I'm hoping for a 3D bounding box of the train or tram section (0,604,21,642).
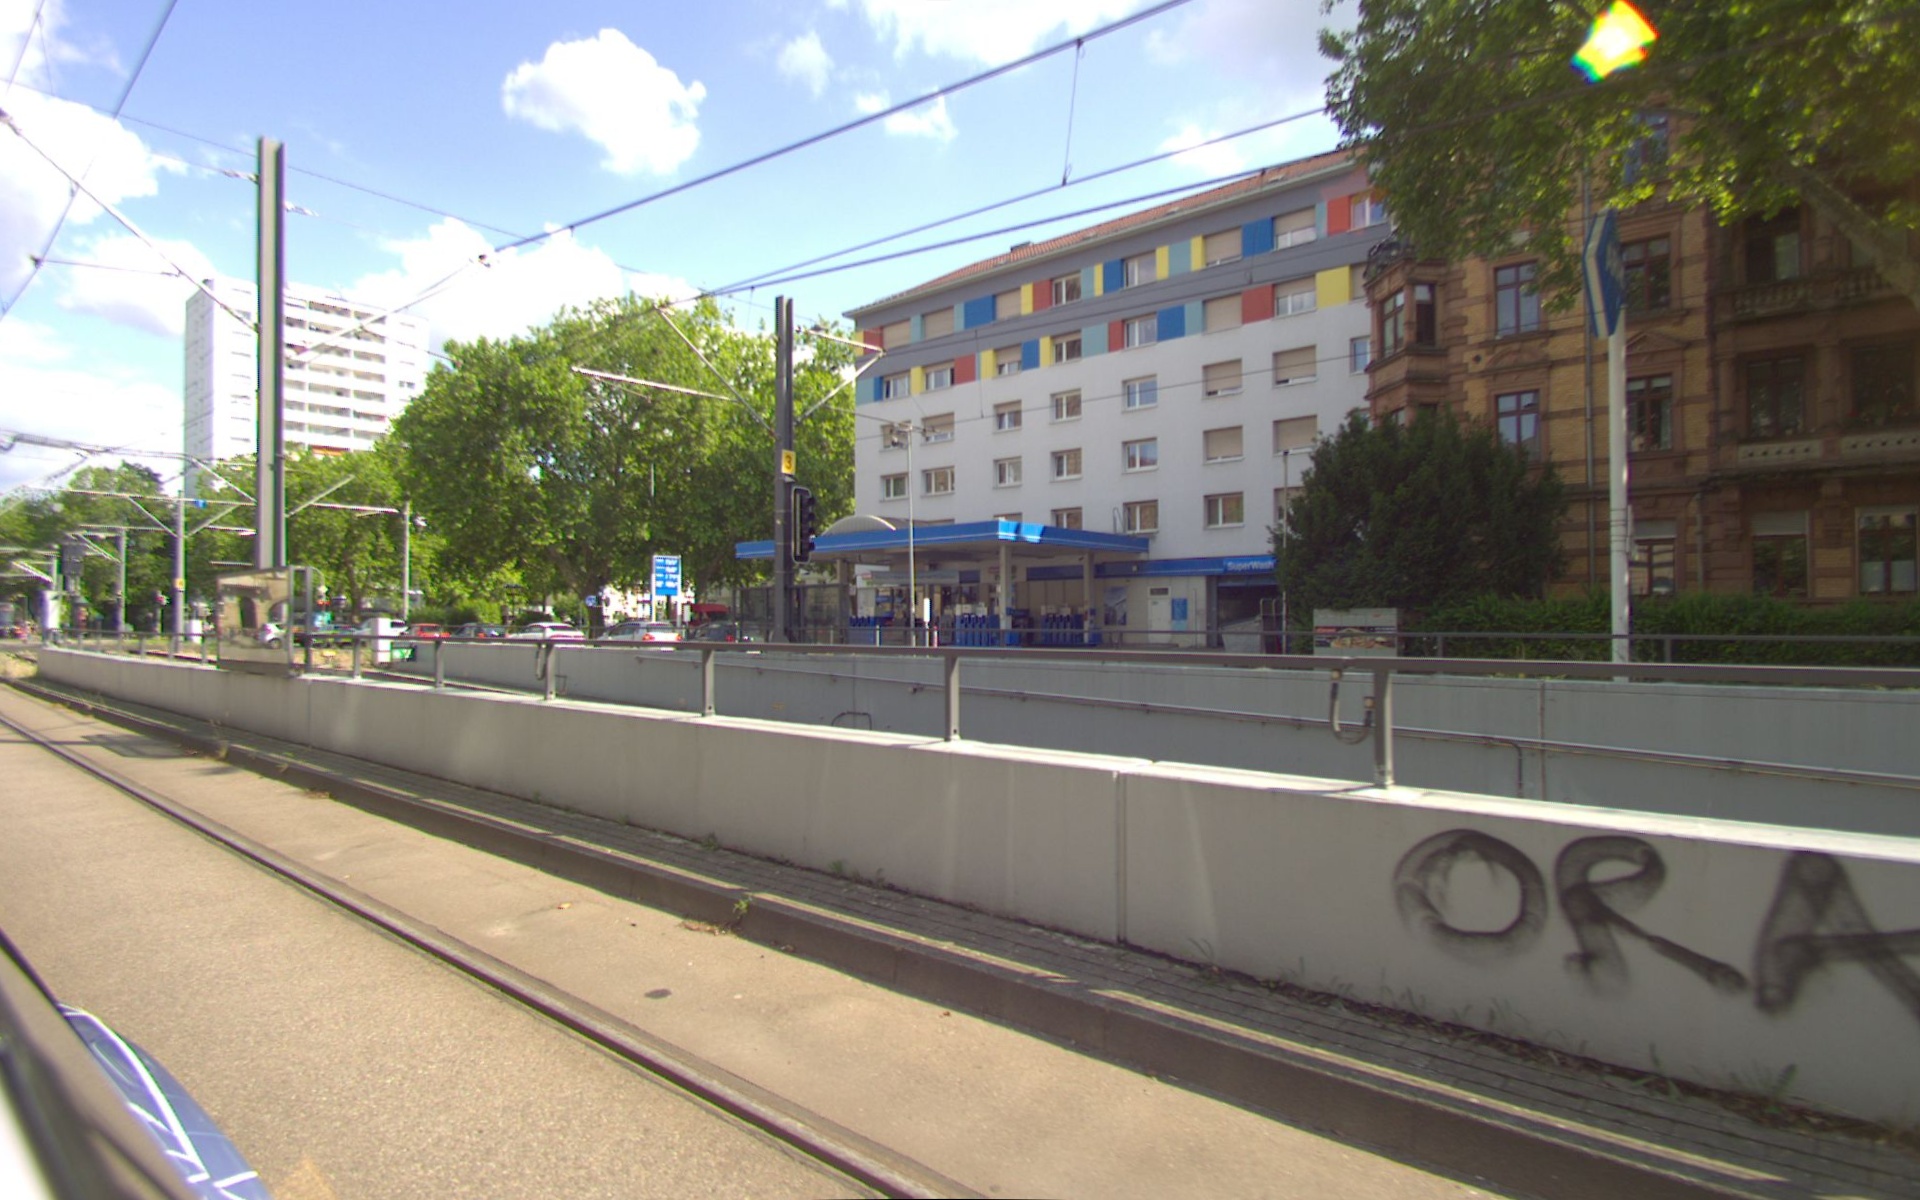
[{"bbox_3d":[-95.447,2.348,100.274,11.378,3.588,2.765,-2,-2,44],"label":"train or tram section"}]

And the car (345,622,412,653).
[{"bbox_3d":[-32.018,2.045,55.673,4.676,1.619,1.741,-1,-2,41],"label":"car"}]

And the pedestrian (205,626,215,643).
[{"bbox_3d":[-75.739,3.480,102.174,0.648,1.716,0.662,-2,-2,44],"label":"pedestrian"}]

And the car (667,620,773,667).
[{"bbox_3d":[-7.784,1.382,32.667,1.649,1.427,3.785,1,-2,-43],"label":"car"}]

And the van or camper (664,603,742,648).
[{"bbox_3d":[-16.118,1.627,63.371,5.349,2.662,2.079,-2,-5,43],"label":"van or camper"}]

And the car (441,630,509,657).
[{"bbox_3d":[-22.342,1.978,46.552,3.633,1.198,1.599,-2,-2,43],"label":"car"}]

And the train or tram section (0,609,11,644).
[{"bbox_3d":[-103.610,2.888,108.000,11.182,3.588,2.775,-2,-2,43],"label":"train or tram section"}]

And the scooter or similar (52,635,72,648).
[{"bbox_3d":[-57.263,2.635,64.546,0.553,0.810,0.830,-2,-2,36],"label":"scooter or similar"}]

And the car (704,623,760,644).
[{"bbox_3d":[-14.872,2.189,65.991,3.997,1.304,1.458,-2,-5,40],"label":"car"}]

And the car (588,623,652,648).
[{"bbox_3d":[-19.971,2.084,59.410,3.997,1.421,1.734,-2,-3,40],"label":"car"}]

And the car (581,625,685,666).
[{"bbox_3d":[-12.079,1.671,37.285,4.404,1.427,1.703,-2,-3,43],"label":"car"}]

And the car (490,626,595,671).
[{"bbox_3d":[-17.395,2.026,42.041,5.074,1.618,1.927,-3,1,41],"label":"car"}]

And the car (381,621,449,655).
[{"bbox_3d":[-27.333,1.917,50.711,4.141,1.619,1.694,-4,-4,41],"label":"car"}]

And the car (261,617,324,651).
[{"bbox_3d":[-43.154,2.194,65.341,5.332,2.002,2.053,-4,-4,41],"label":"car"}]

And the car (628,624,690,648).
[{"bbox_3d":[-18.325,2.173,61.549,3.997,1.421,1.734,-2,-3,40],"label":"car"}]

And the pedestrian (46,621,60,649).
[{"bbox_3d":[-57.538,2.206,64.191,0.556,1.746,0.521,-2,-4,36],"label":"pedestrian"}]

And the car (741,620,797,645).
[{"bbox_3d":[-12.824,2.161,67.715,3.997,1.616,1.510,-2,-4,40],"label":"car"}]

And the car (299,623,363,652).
[{"bbox_3d":[-37.781,2.262,60.713,5.151,1.665,1.847,-2,-4,41],"label":"car"}]
